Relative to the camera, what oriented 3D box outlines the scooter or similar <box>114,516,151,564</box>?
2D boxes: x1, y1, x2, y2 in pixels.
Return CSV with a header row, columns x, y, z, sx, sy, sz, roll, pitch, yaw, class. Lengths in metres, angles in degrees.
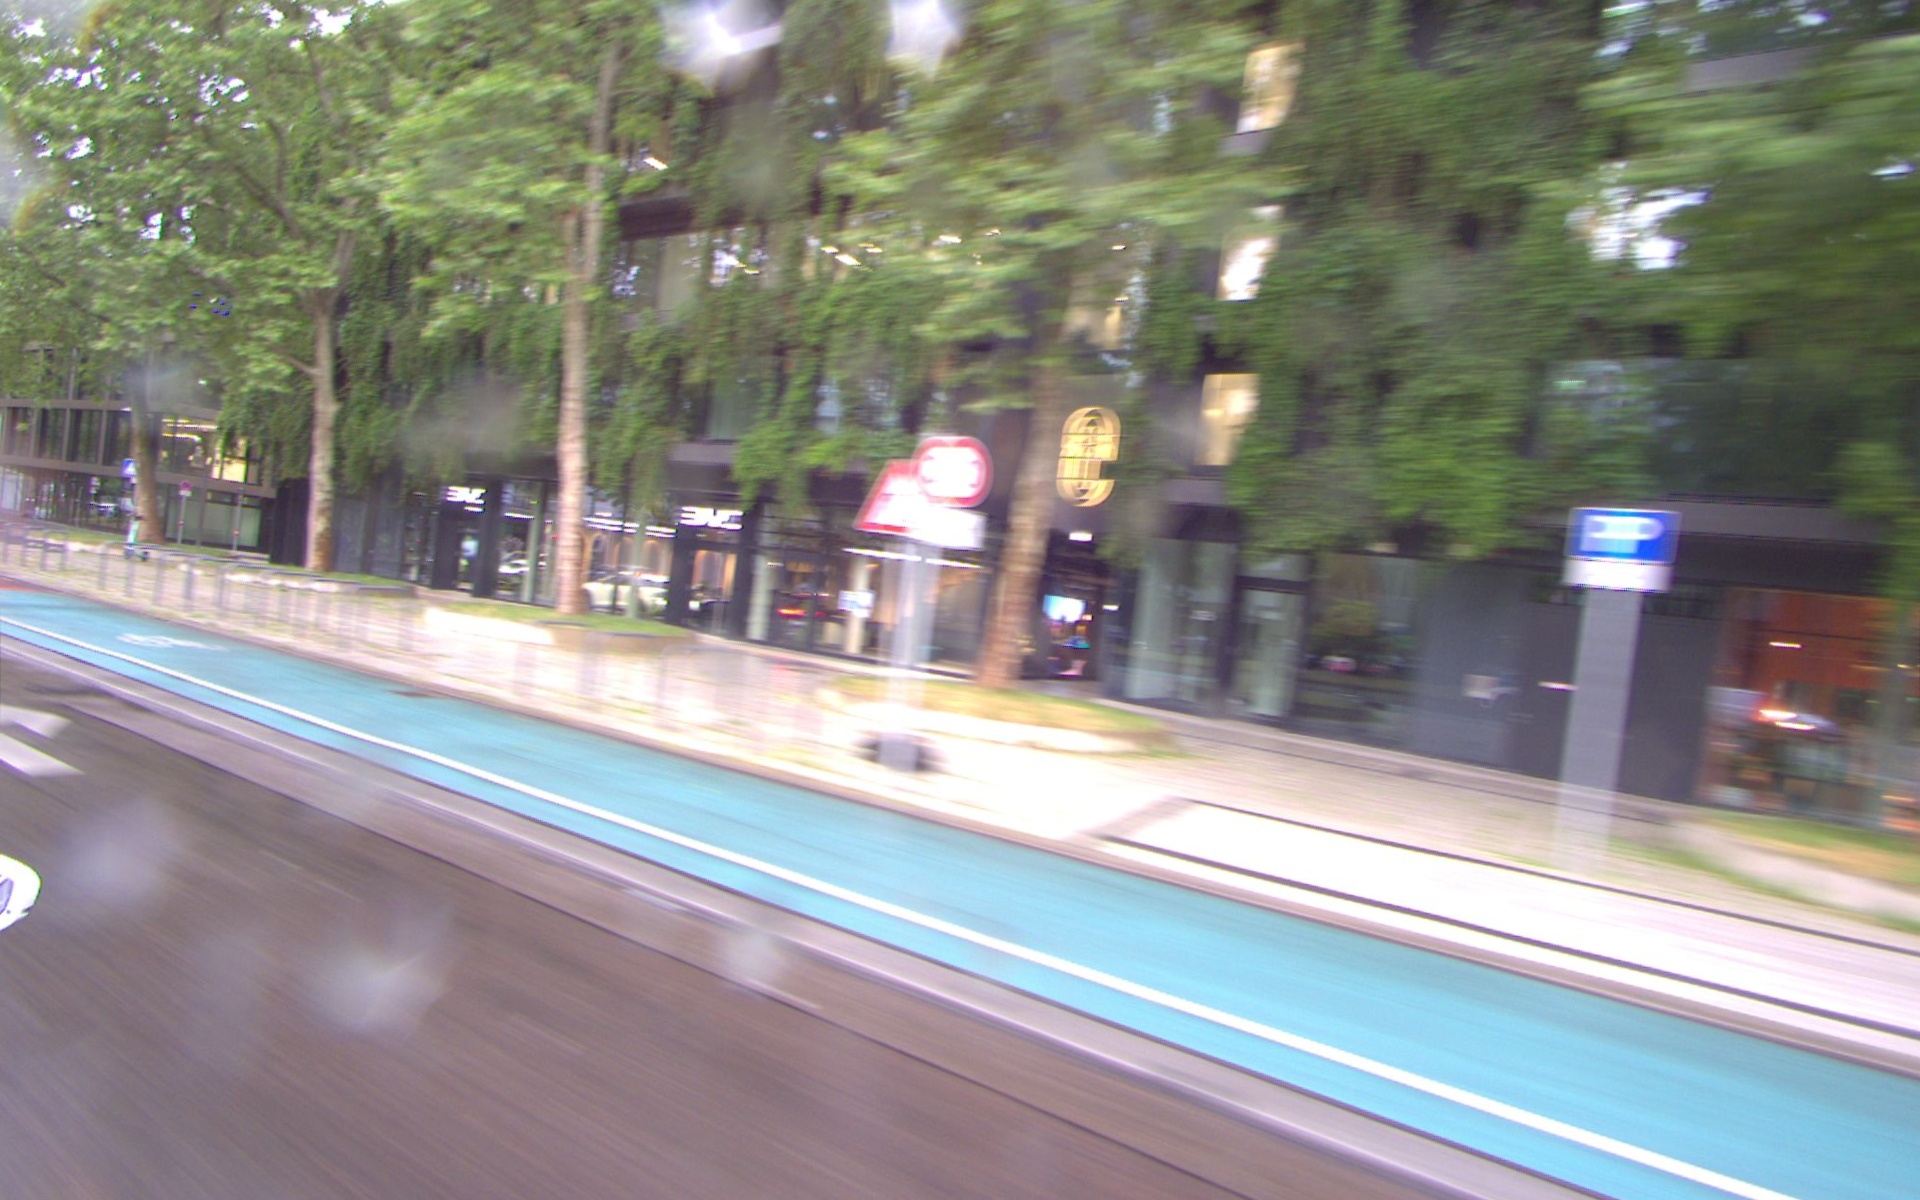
x,y,z,sx,sy,sz,roll,pitch,yaw,class
-22.644,-1.630,27.543,0.377,1.243,1.074,7,0,-22,scooter or similar
